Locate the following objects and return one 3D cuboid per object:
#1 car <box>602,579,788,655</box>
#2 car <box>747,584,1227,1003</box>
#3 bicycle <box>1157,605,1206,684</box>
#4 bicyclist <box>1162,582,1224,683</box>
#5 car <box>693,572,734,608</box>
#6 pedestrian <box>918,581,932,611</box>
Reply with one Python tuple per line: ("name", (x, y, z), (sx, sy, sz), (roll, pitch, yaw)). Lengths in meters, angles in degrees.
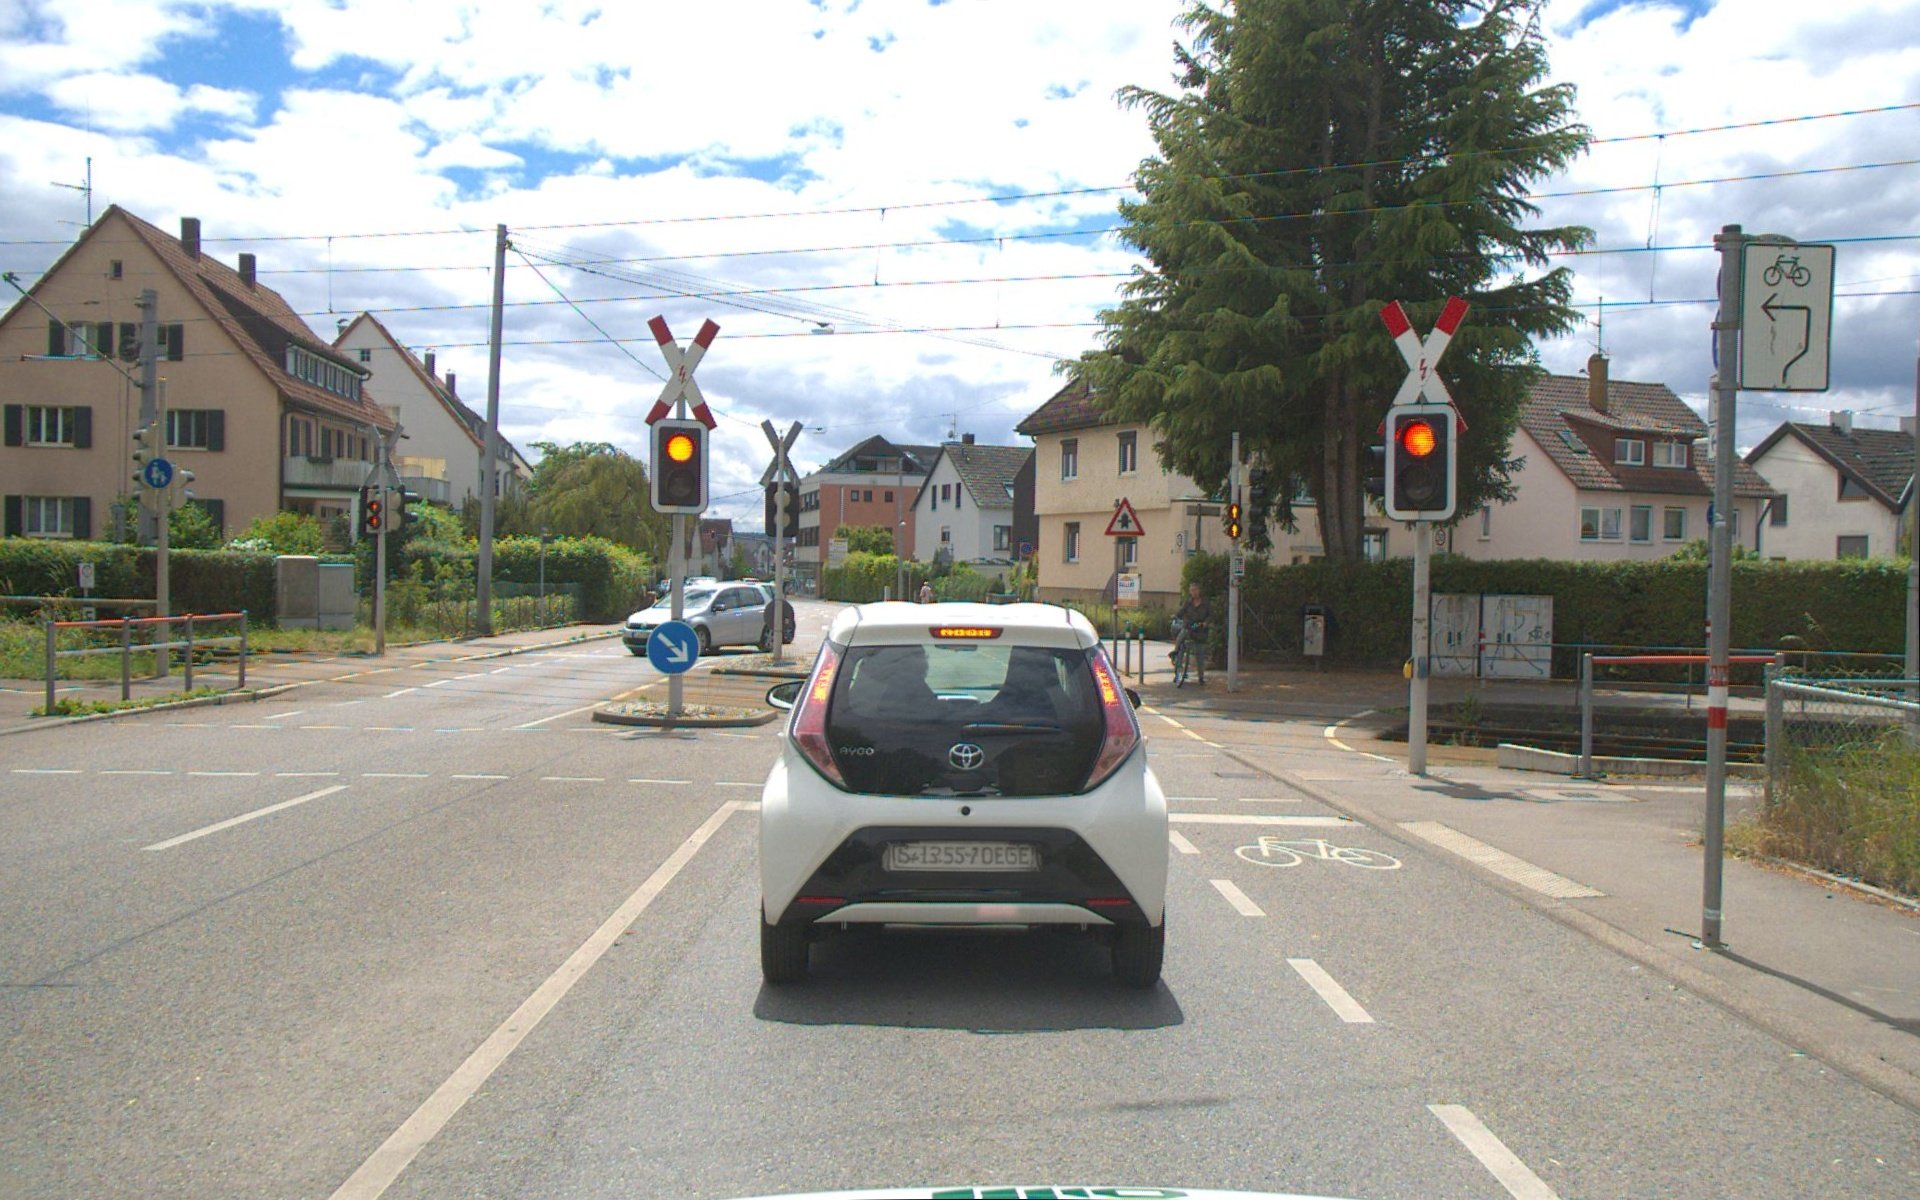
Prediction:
("car", (-5.617, 0.360, 35.520), (1.868, 1.466, 4.093), (2, 0, 27))
("car", (-0.025, 0.692, 7.794), (1.687, 1.467, 3.705), (2, 0, -4))
("bicycle", (3.672, 0.728, 27.504), (0.448, 1.192, 1.477), (-2, 3, -6))
("bicyclist", (3.851, 0.528, 27.387), (0.825, 1.580, 0.755), (-2, 3, -7))
("car", (-12.890, -0.535, 86.656), (1.956, 1.749, 3.994), (2, 0, -7))
("pedestrian", (-1.888, -0.234, 90.178), (0.711, 1.604, 0.803), (2, 0, -1))
